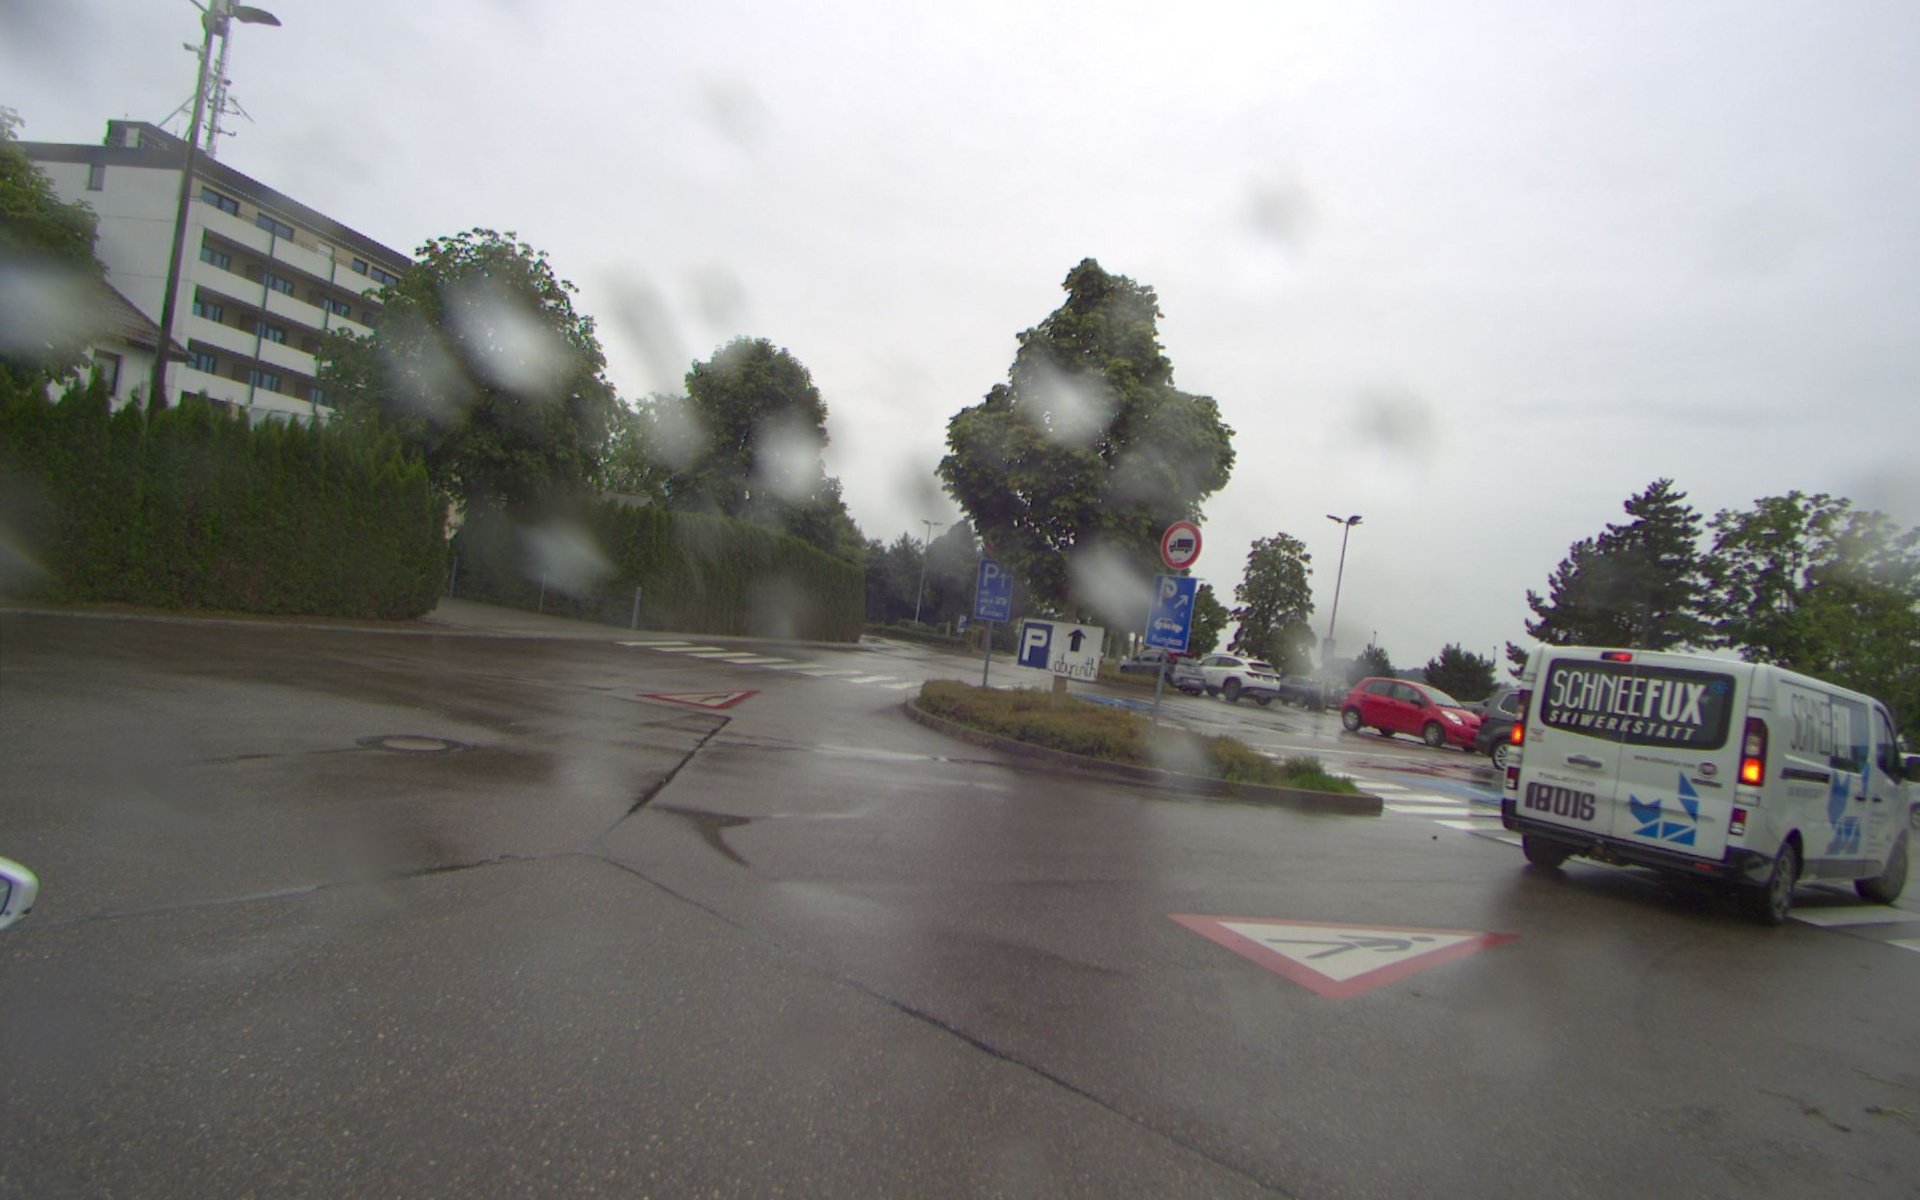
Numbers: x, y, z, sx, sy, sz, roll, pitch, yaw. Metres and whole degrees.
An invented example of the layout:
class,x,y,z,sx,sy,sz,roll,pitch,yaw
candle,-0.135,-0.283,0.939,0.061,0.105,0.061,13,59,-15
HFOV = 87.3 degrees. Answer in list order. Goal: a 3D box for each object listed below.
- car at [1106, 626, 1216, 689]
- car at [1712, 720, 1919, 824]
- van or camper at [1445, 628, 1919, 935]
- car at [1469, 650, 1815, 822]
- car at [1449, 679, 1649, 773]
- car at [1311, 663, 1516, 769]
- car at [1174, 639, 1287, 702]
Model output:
class,x,y,z,sx,sy,sz,roll,pitch,yaw
car,7.354,2.097,37.174,1.777,1.714,4.022,7,1,-25
car,21.447,4.174,24.302,1.977,1.606,4.734,7,0,-27
van or camper,7.003,1.617,9.367,5.155,1.967,2.173,9,-2,-36
car,12.350,2.386,18.638,1.977,2.216,4.734,7,1,-27
car,16.558,3.519,28.514,1.905,1.800,4.365,7,1,-30
car,11.589,2.932,26.046,1.905,1.909,4.365,7,1,-30
car,10.151,2.618,38.036,1.692,1.714,4.020,7,1,-26
